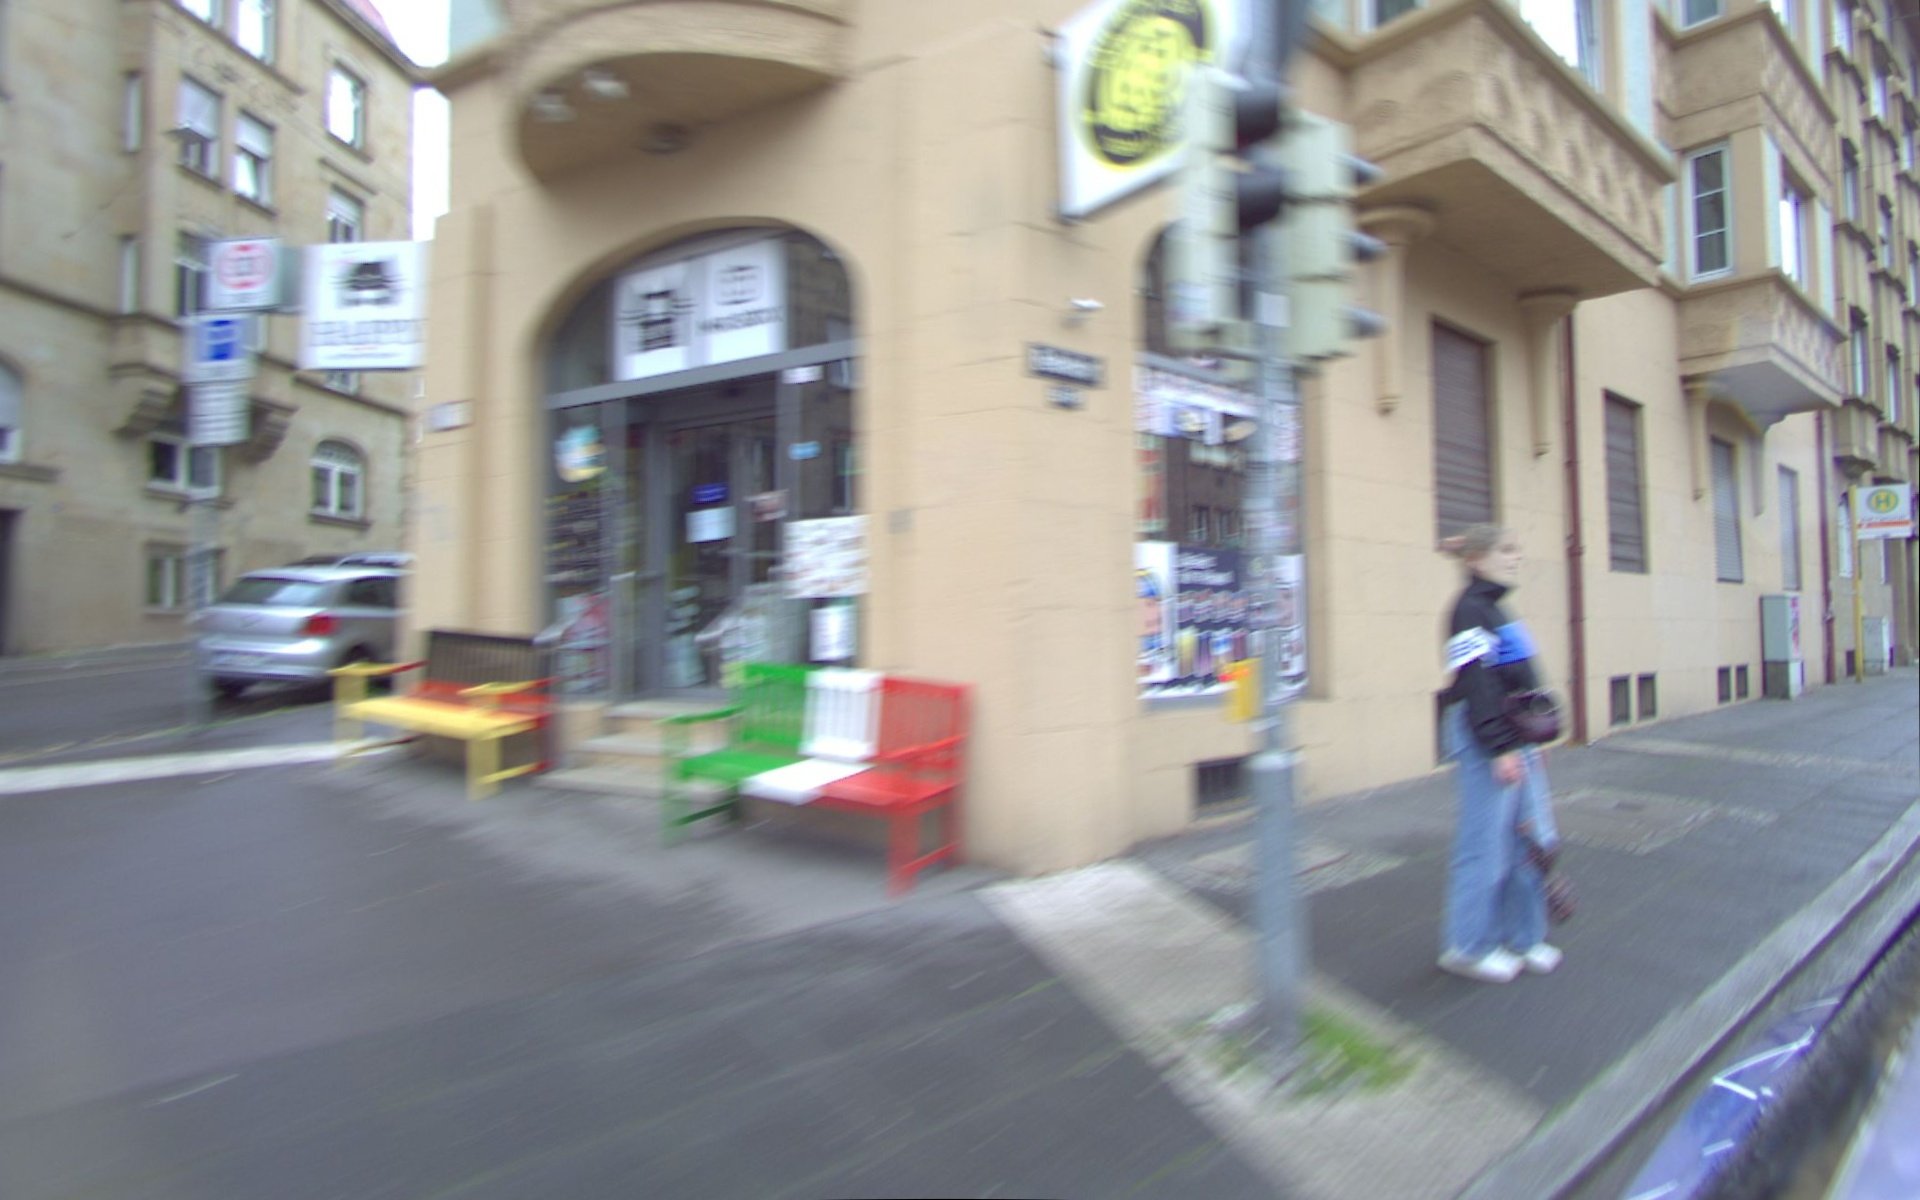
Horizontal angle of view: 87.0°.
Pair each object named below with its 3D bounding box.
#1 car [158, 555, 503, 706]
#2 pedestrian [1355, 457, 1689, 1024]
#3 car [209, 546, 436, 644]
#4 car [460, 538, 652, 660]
[{"bbox_3d":[-7.203,0.274,12.033,1.661,1.478,3.529,2,1,6],"label":"car"},{"bbox_3d":[2.099,0.436,3.924,0.958,1.863,0.895,2,2,25],"label":"pedestrian"},{"bbox_3d":[-13.284,-0.143,21.458,1.716,1.747,4.352,-4,1,5],"label":"car"},{"bbox_3d":[-6.754,-0.054,17.324,1.577,1.867,3.549,0,1,6],"label":"car"}]
